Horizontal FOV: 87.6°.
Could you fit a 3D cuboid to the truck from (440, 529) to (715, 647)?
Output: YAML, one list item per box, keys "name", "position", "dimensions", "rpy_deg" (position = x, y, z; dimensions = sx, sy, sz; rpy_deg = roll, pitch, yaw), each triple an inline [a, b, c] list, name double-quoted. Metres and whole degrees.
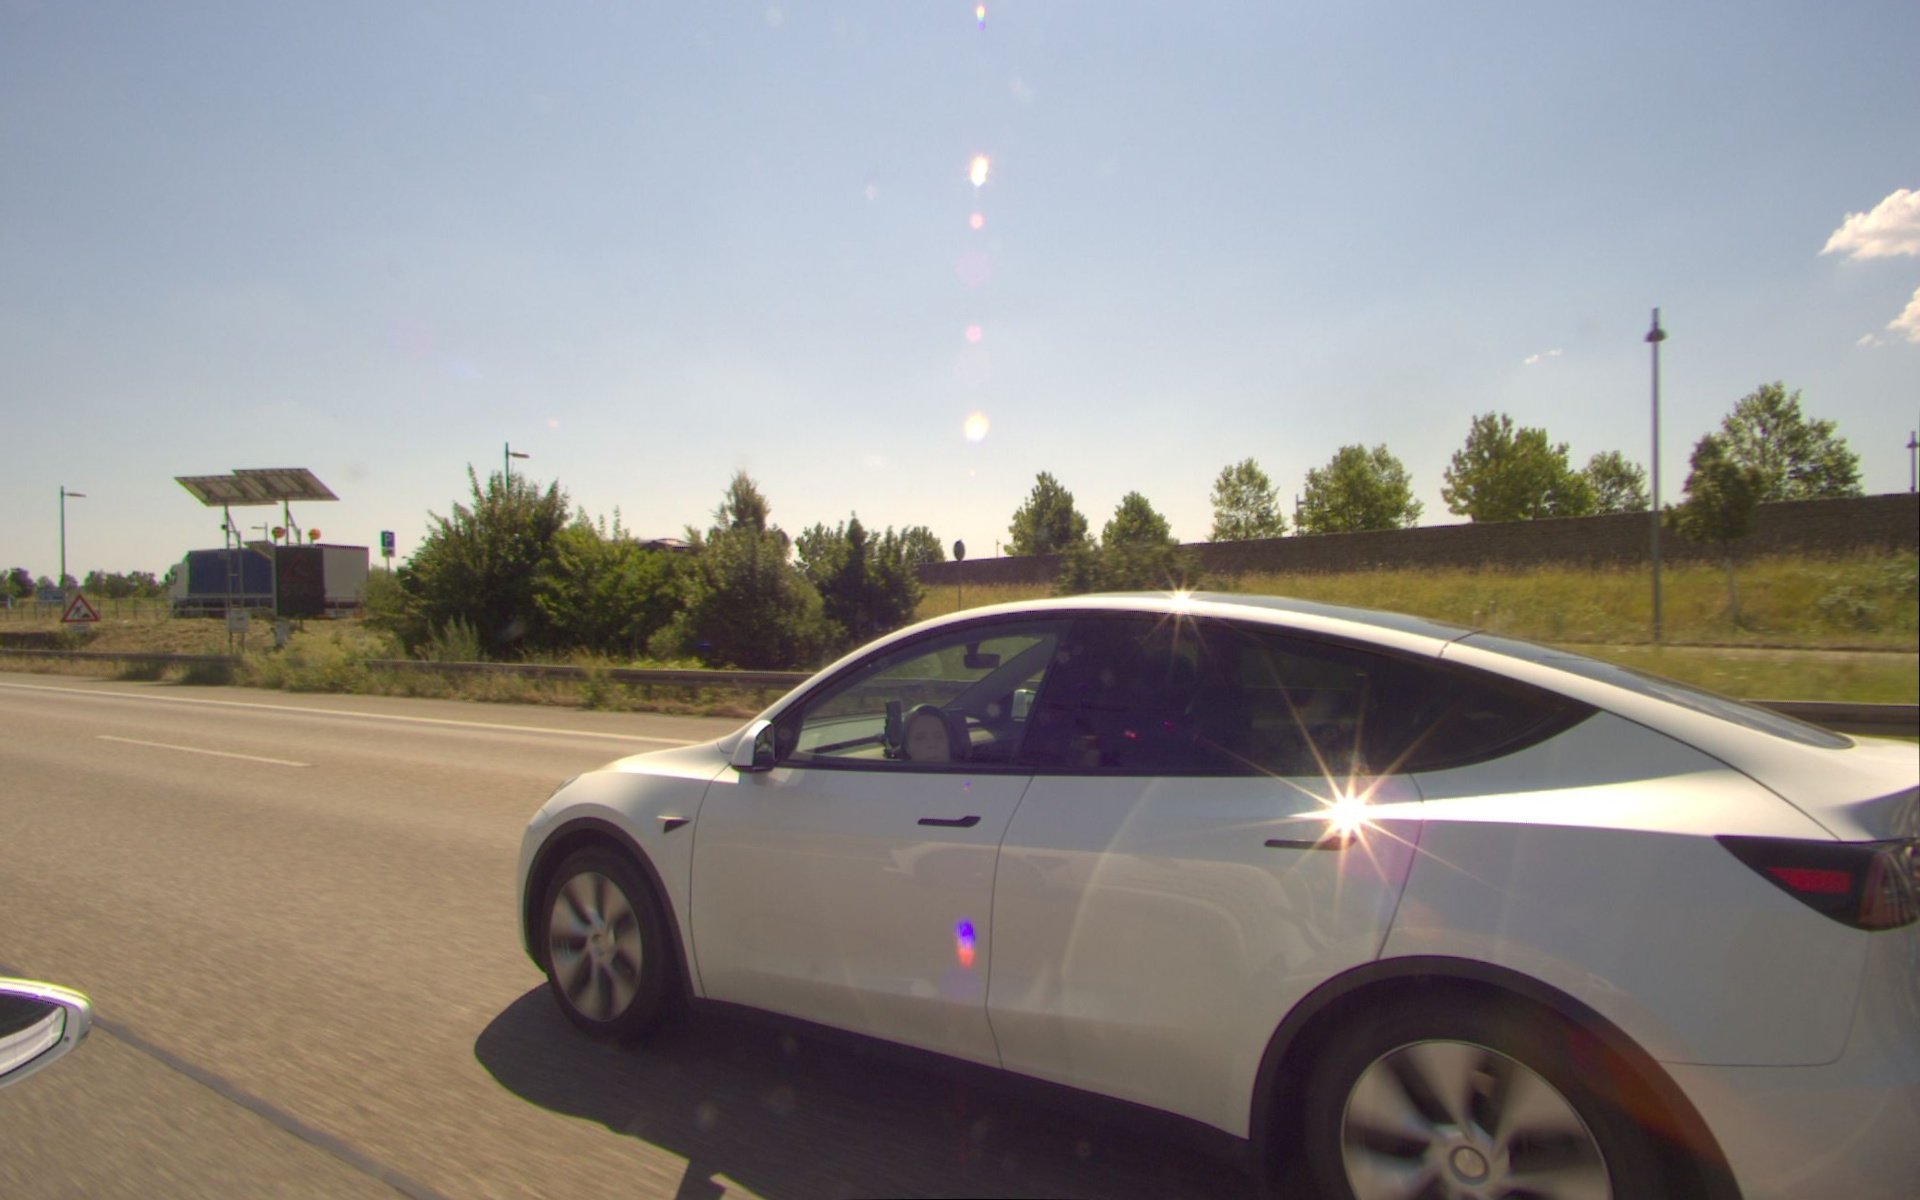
- name: "truck"
  position: [-15.564, -0.250, 40.121]
  dimensions: [12.343, 4.135, 3.781]
  rpy_deg: [-1, -2, 33]

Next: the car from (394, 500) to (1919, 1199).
- name: "car"
  position: [0.516, 0.724, 3.538]
  dimensions: [5.519, 1.657, 1.948]
  rpy_deg: [-1, -2, 31]

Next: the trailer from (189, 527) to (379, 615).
- name: "trailer"
  position: [-36.885, -1.334, 54.304]
  dimensions: [14.053, 4.135, 3.048]
  rpy_deg: [-1, -2, 32]

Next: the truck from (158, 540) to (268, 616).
- name: "truck"
  position: [-43.683, -1.181, 58.538]
  dimensions: [6.306, 4.135, 3.048]
  rpy_deg: [-1, -2, 32]
